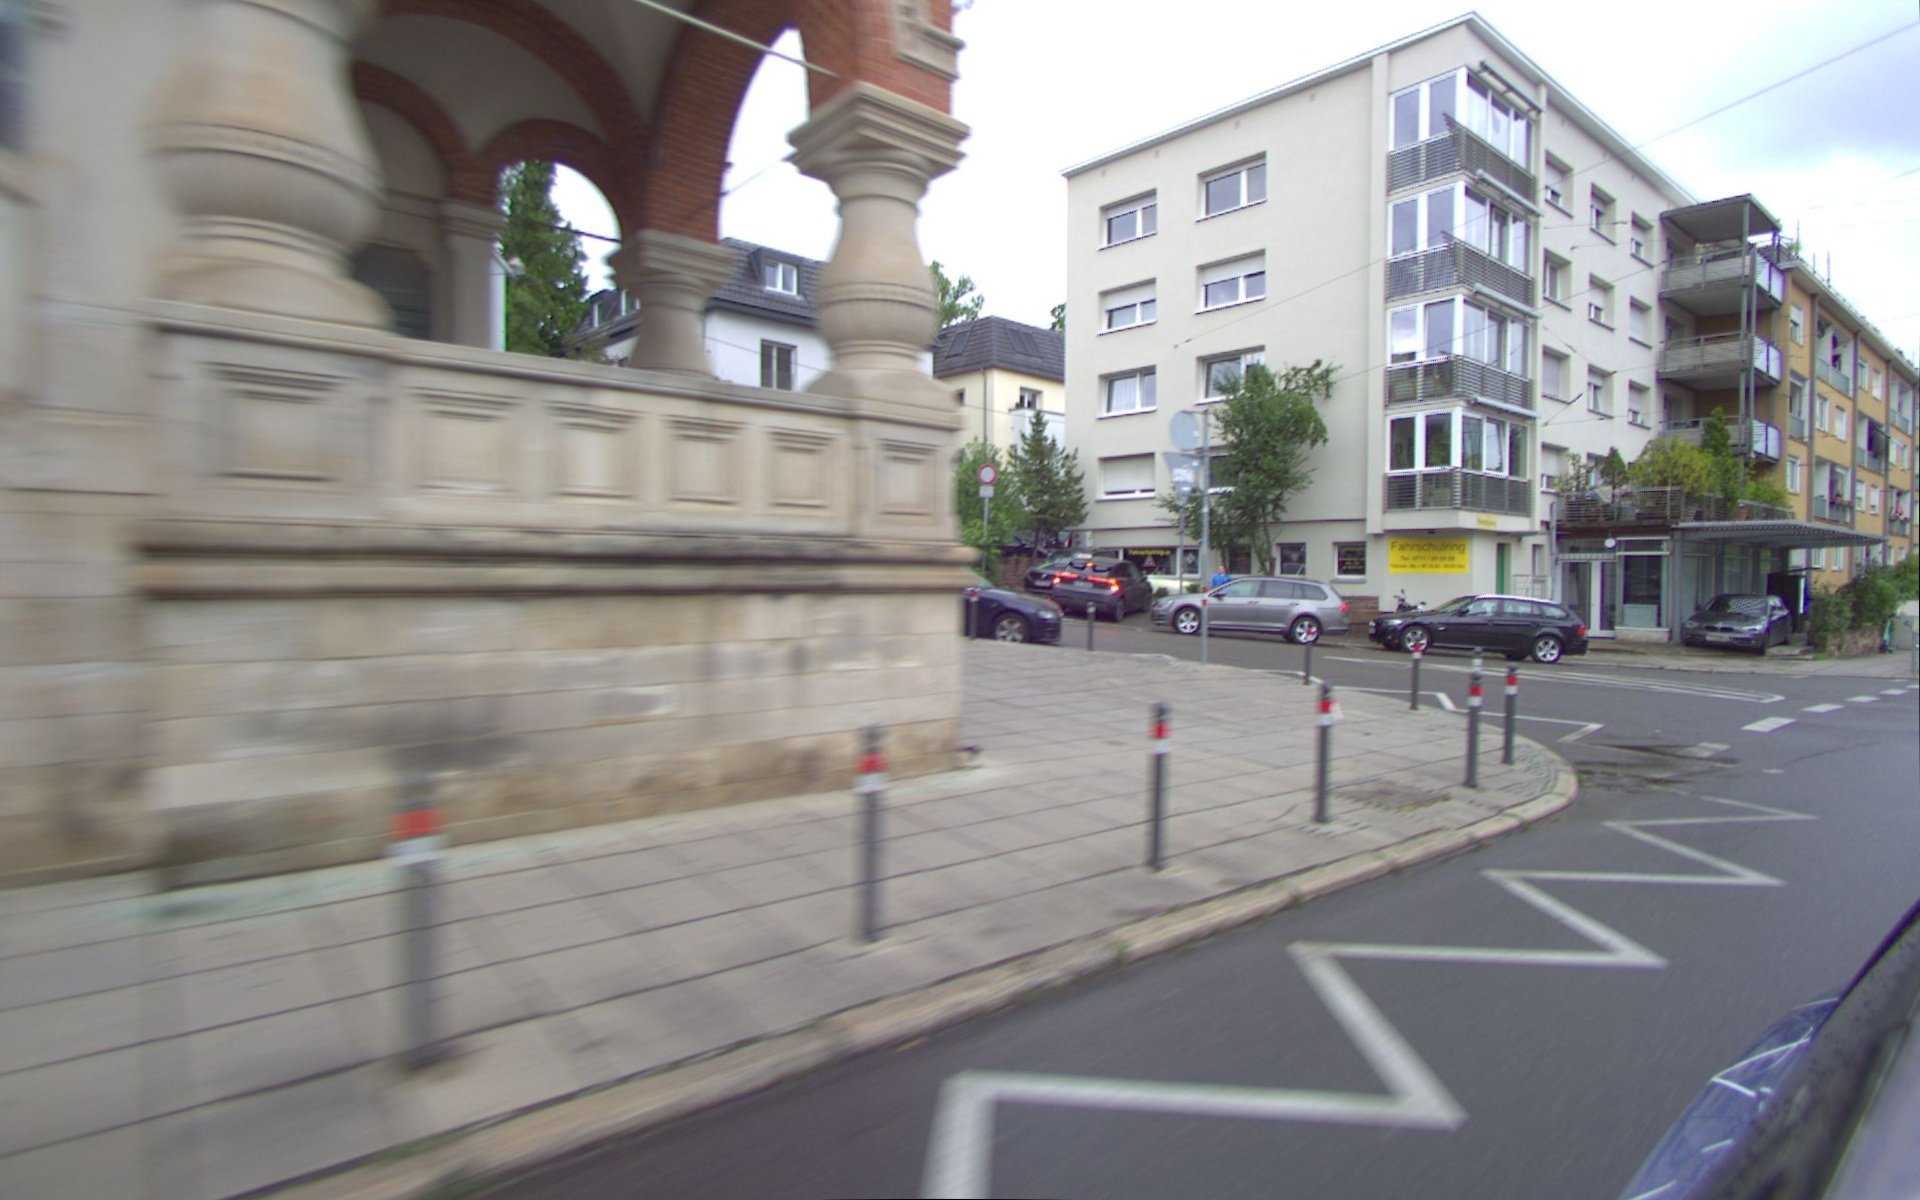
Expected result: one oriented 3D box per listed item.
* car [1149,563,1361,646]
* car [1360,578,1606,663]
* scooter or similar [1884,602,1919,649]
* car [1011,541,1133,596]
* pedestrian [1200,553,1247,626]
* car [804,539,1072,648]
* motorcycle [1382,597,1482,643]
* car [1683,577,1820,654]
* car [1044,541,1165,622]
[{"bbox_3d":[6.715,0.060,23.499,4.377,1.475,1.997,5,2,9],"label":"car"},{"bbox_3d":[11.595,0.415,22.755,4.374,1.475,1.998,5,1,7],"label":"car"},{"bbox_3d":[28.894,0.775,30.981,1.629,1.342,0.536,0,6,-39],"label":"scooter or similar"},{"bbox_3d":[3.461,-0.933,30.727,1.989,1.565,3.947,0,1,37],"label":"car"},{"bbox_3d":[7.031,-0.299,26.971,1.010,1.820,0.775,6,3,18],"label":"pedestrian"},{"bbox_3d":[-0.300,-0.173,17.770,4.404,1.384,1.940,6,4,7],"label":"car"},{"bbox_3d":[12.082,0.502,25.957,2.177,0.991,0.551,5,2,9],"label":"motorcycle"},{"bbox_3d":[21.161,0.339,27.007,4.371,1.520,1.859,-5,8,-39],"label":"car"},{"bbox_3d":[3.974,-0.586,27.194,1.981,1.634,4.418,8,8,22],"label":"car"}]
